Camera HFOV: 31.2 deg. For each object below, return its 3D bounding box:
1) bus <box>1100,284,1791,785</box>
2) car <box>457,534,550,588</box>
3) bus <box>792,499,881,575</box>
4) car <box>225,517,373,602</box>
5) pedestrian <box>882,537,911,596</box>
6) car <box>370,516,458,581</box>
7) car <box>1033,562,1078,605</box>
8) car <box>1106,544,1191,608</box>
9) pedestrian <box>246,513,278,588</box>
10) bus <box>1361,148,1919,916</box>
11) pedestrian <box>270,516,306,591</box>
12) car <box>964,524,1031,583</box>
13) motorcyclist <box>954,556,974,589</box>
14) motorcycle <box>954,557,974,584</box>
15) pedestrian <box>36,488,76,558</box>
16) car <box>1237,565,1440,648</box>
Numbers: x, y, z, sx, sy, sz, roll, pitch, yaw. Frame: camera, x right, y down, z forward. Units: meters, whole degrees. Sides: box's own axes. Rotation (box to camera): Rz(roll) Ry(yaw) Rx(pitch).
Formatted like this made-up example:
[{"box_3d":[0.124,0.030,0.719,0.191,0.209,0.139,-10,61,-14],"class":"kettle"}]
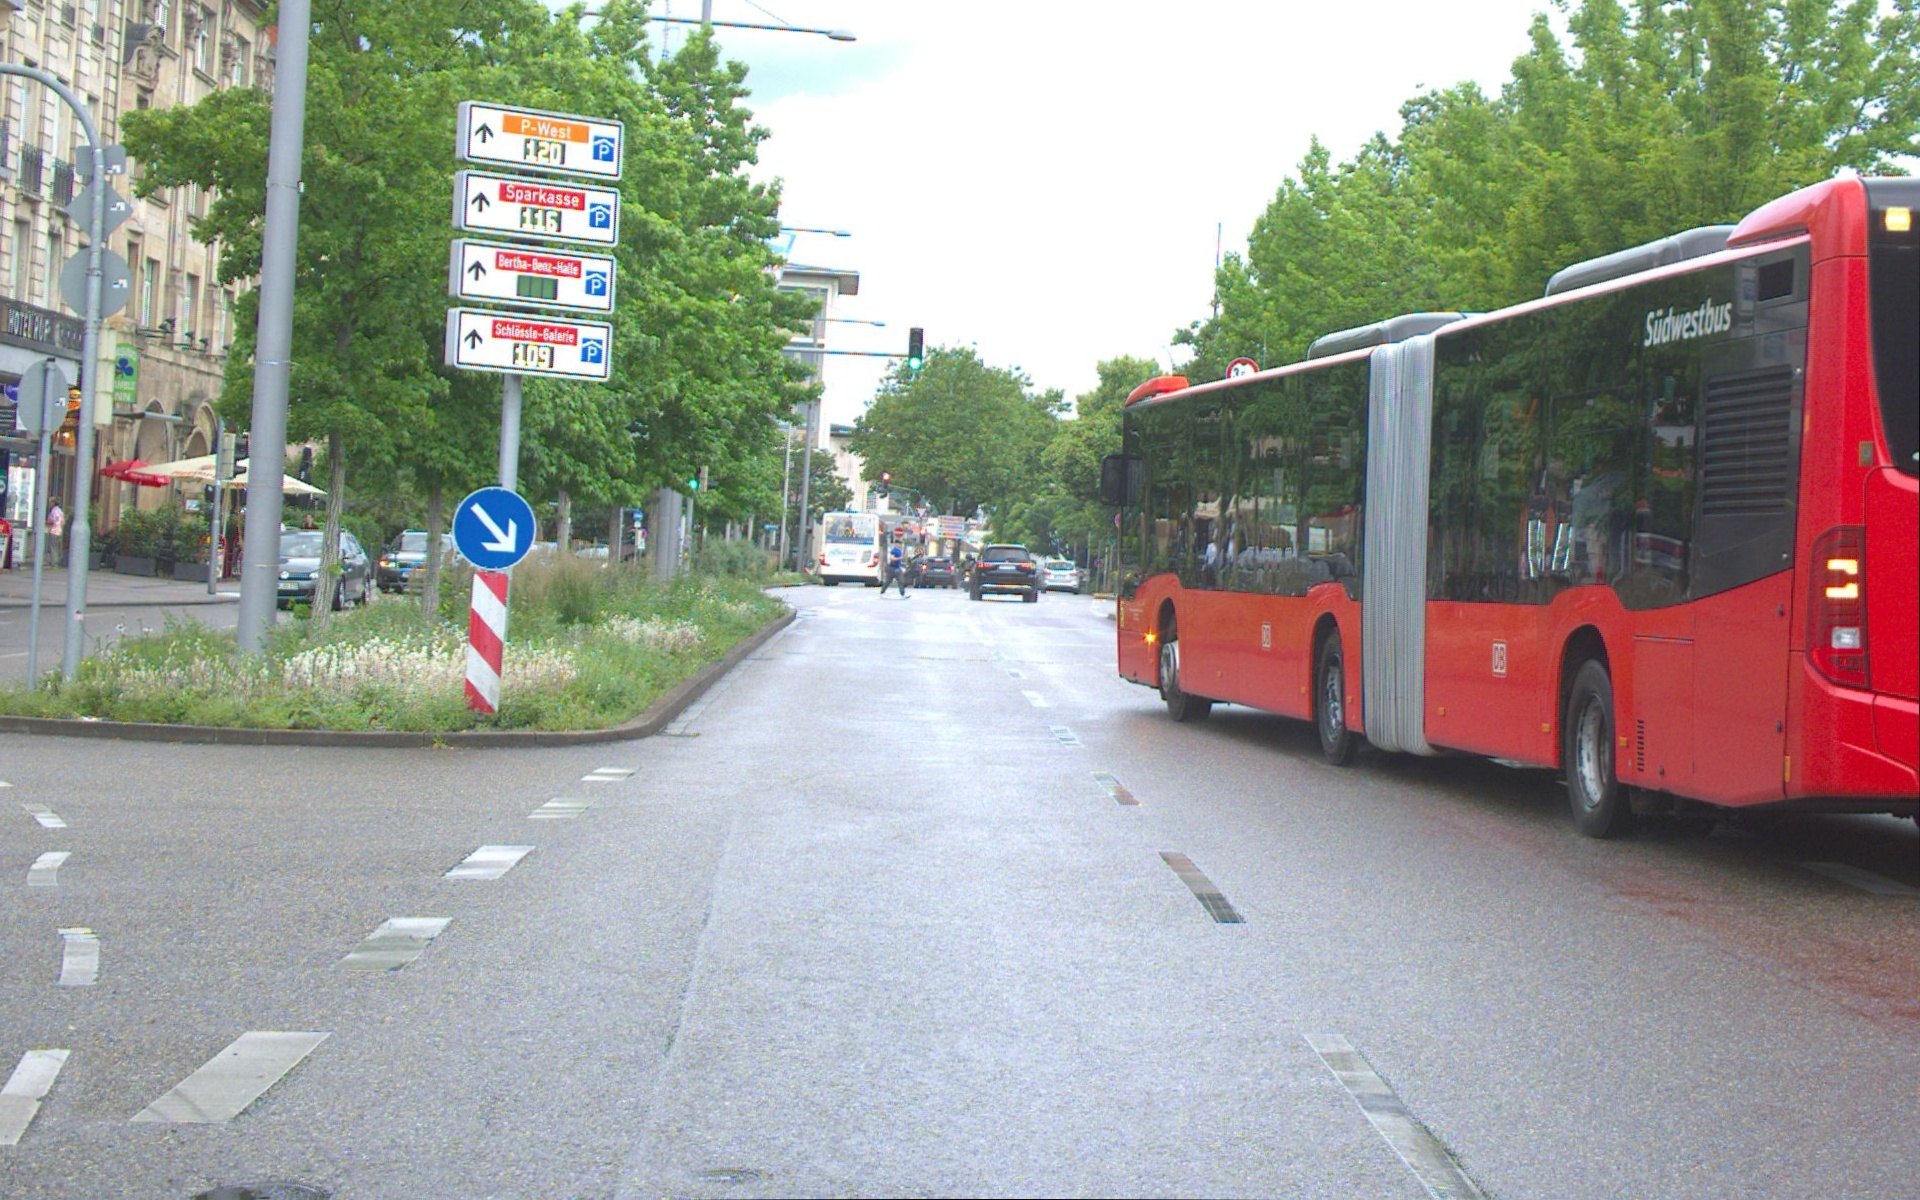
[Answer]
[{"box_3d":[3.346,-0.503,27.207,2.742,3.163,10.197,1,1,-7],"class":"bus"},{"box_3d":[-12.150,-1.056,91.695,1.755,1.364,4.060,2,1,2],"class":"car"},{"box_3d":[-5.531,-2.826,155.986,3.760,3.198,15.527,1,1,-2],"class":"bus"},{"box_3d":[-11.921,-0.732,62.234,1.755,1.436,4.060,2,1,2],"class":"car"},{"box_3d":[-1.844,-0.969,99.800,0.758,1.695,0.559,2,1,6],"class":"pedestrian"},{"box_3d":[-12.203,-1.158,76.990,1.754,1.364,4.061,1,1,-7],"class":"car"},{"box_3d":[4.220,-0.750,152.906,1.788,1.853,4.000,2,1,-1],"class":"car"},{"box_3d":[4.655,-0.617,85.398,1.816,1.525,4.000,1,1,-1],"class":"car"},{"box_3d":[-16.098,-1.143,79.295,0.575,1.726,0.609,2,1,-1],"class":"pedestrian"},{"box_3d":[4.461,-0.327,18.371,2.742,3.163,8.122,1,1,-7],"class":"bus"},{"box_3d":[-15.505,-1.071,79.352,0.674,1.696,0.634,2,1,-1],"class":"pedestrian"},{"box_3d":[1.158,-1.479,108.155,1.993,1.800,4.690,1,1,-1],"class":"car"},{"box_3d":[0.152,-1.113,139.913,0.764,1.327,0.866,2,1,0],"class":"motorcyclist"},{"box_3d":[0.169,-1.207,139.919,0.766,1.073,2.175,2,1,0],"class":"motorcycle"},{"box_3d":[-19.612,-1.671,74.578,0.661,1.505,0.519,1,1,-38],"class":"pedestrian"},{"box_3d":[9.058,0.159,82.280,4.335,1.851,2.001,1,1,-20],"class":"car"}]
